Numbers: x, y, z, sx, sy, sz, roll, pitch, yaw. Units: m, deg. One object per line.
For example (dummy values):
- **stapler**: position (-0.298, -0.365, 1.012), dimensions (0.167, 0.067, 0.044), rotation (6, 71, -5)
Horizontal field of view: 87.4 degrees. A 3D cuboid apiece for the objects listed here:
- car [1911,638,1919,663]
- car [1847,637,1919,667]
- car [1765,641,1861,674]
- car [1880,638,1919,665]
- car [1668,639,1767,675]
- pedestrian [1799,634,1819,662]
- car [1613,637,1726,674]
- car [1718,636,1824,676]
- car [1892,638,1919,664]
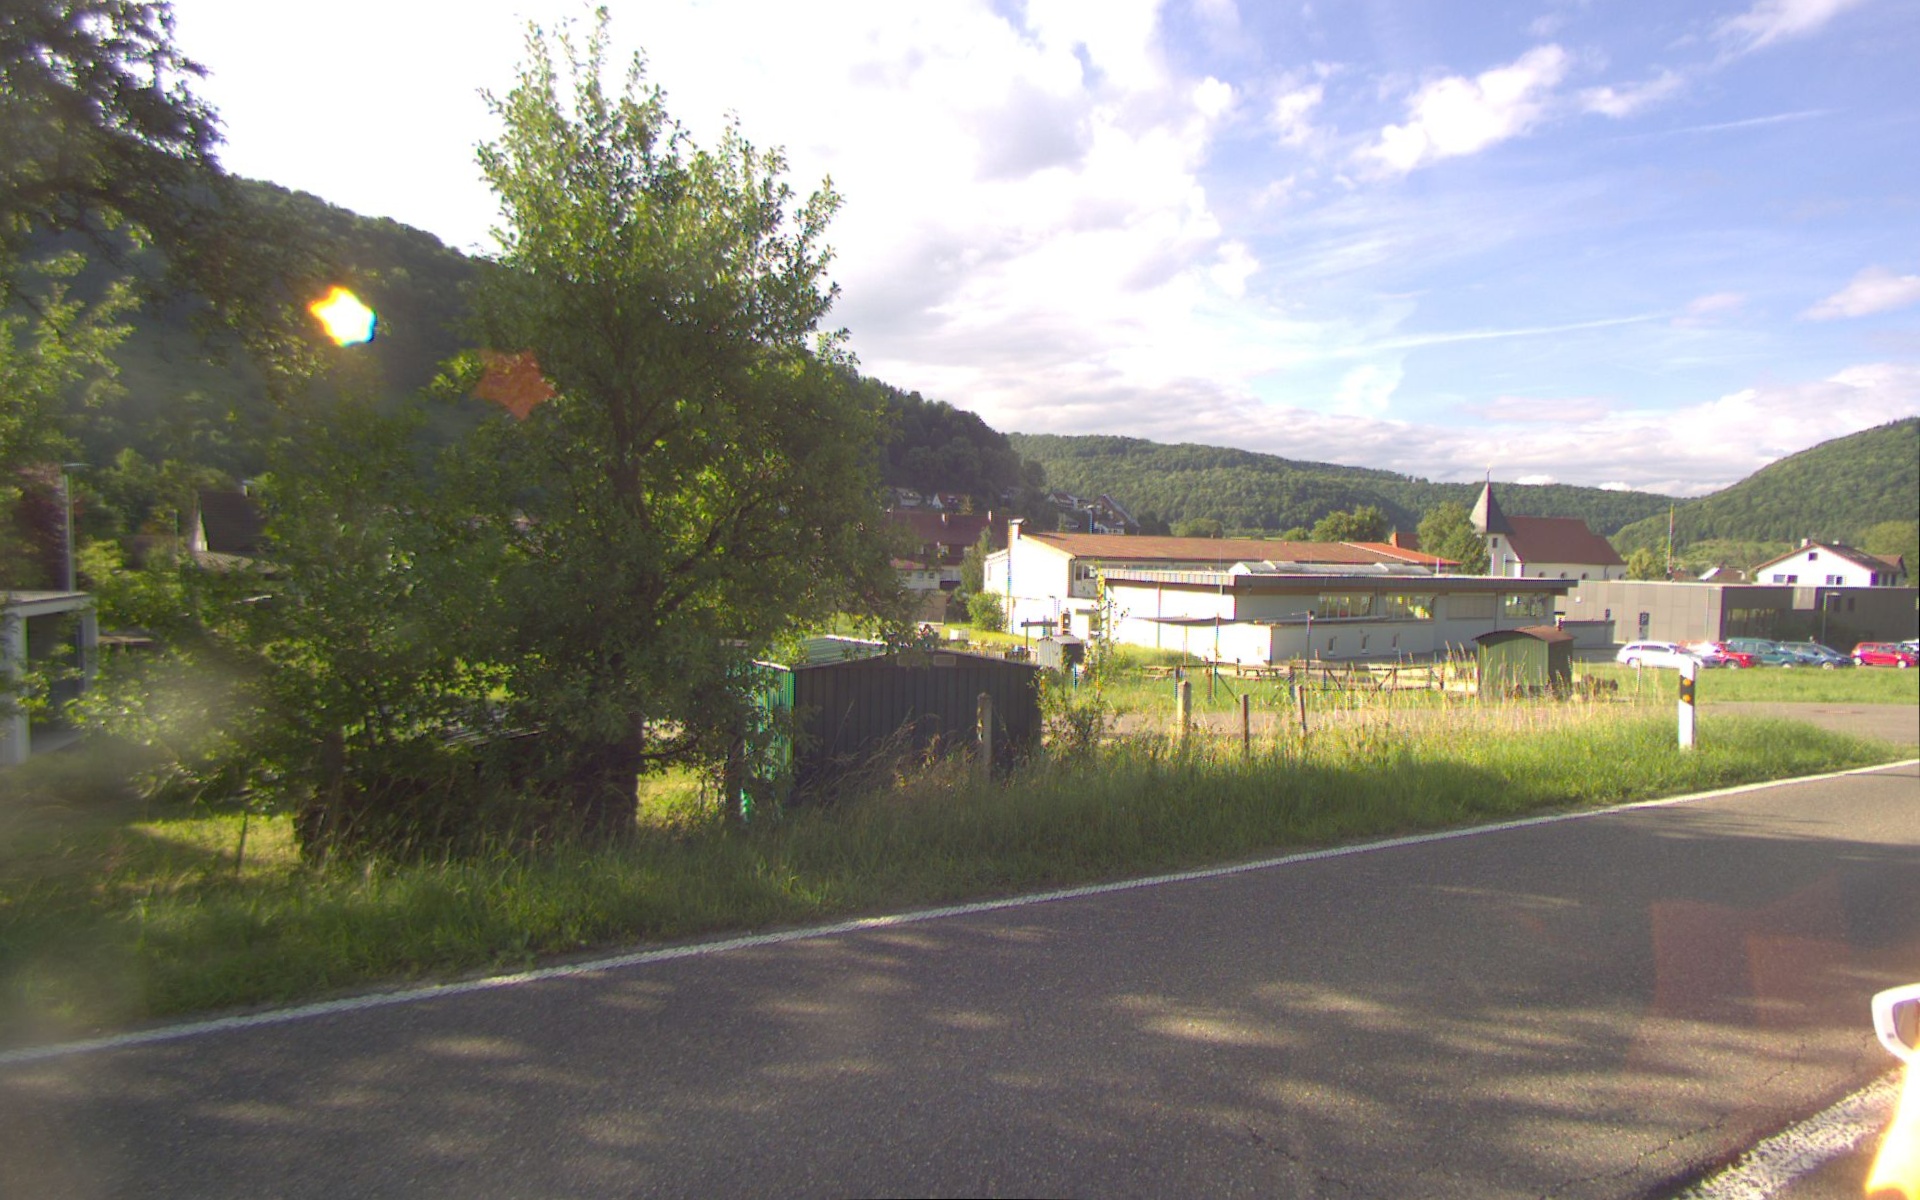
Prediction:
- **car**: position (70.166, 3.676, 70.961), dimensions (1.978, 1.733, 3.965), rotation (2, 0, -32)
- **car**: position (60.435, 3.340, 65.110), dimensions (1.978, 1.733, 3.965), rotation (2, 0, -32)
- **car**: position (51.350, 3.455, 60.515), dimensions (1.978, 1.733, 3.965), rotation (2, 0, -32)
- **car**: position (64.446, 3.476, 67.139), dimensions (1.978, 1.733, 3.965), rotation (2, 0, -32)
- **car**: position (42.204, 3.144, 56.009), dimensions (1.978, 1.733, 3.965), rotation (2, 0, -32)
- **pedestrian**: position (61.607, 3.481, 72.899), dimensions (0.962, 2.040, 0.821), rotation (2, 0, -30)
- **car**: position (39.102, 3.045, 55.481), dimensions (1.978, 1.733, 4.705), rotation (2, 0, -32)
- **car**: position (47.297, 3.249, 58.659), dimensions (1.978, 2.034, 4.382), rotation (2, 0, -32)
- **car**: position (67.325, 3.579, 69.396), dimensions (1.978, 1.733, 3.965), rotation (2, 0, -32)
